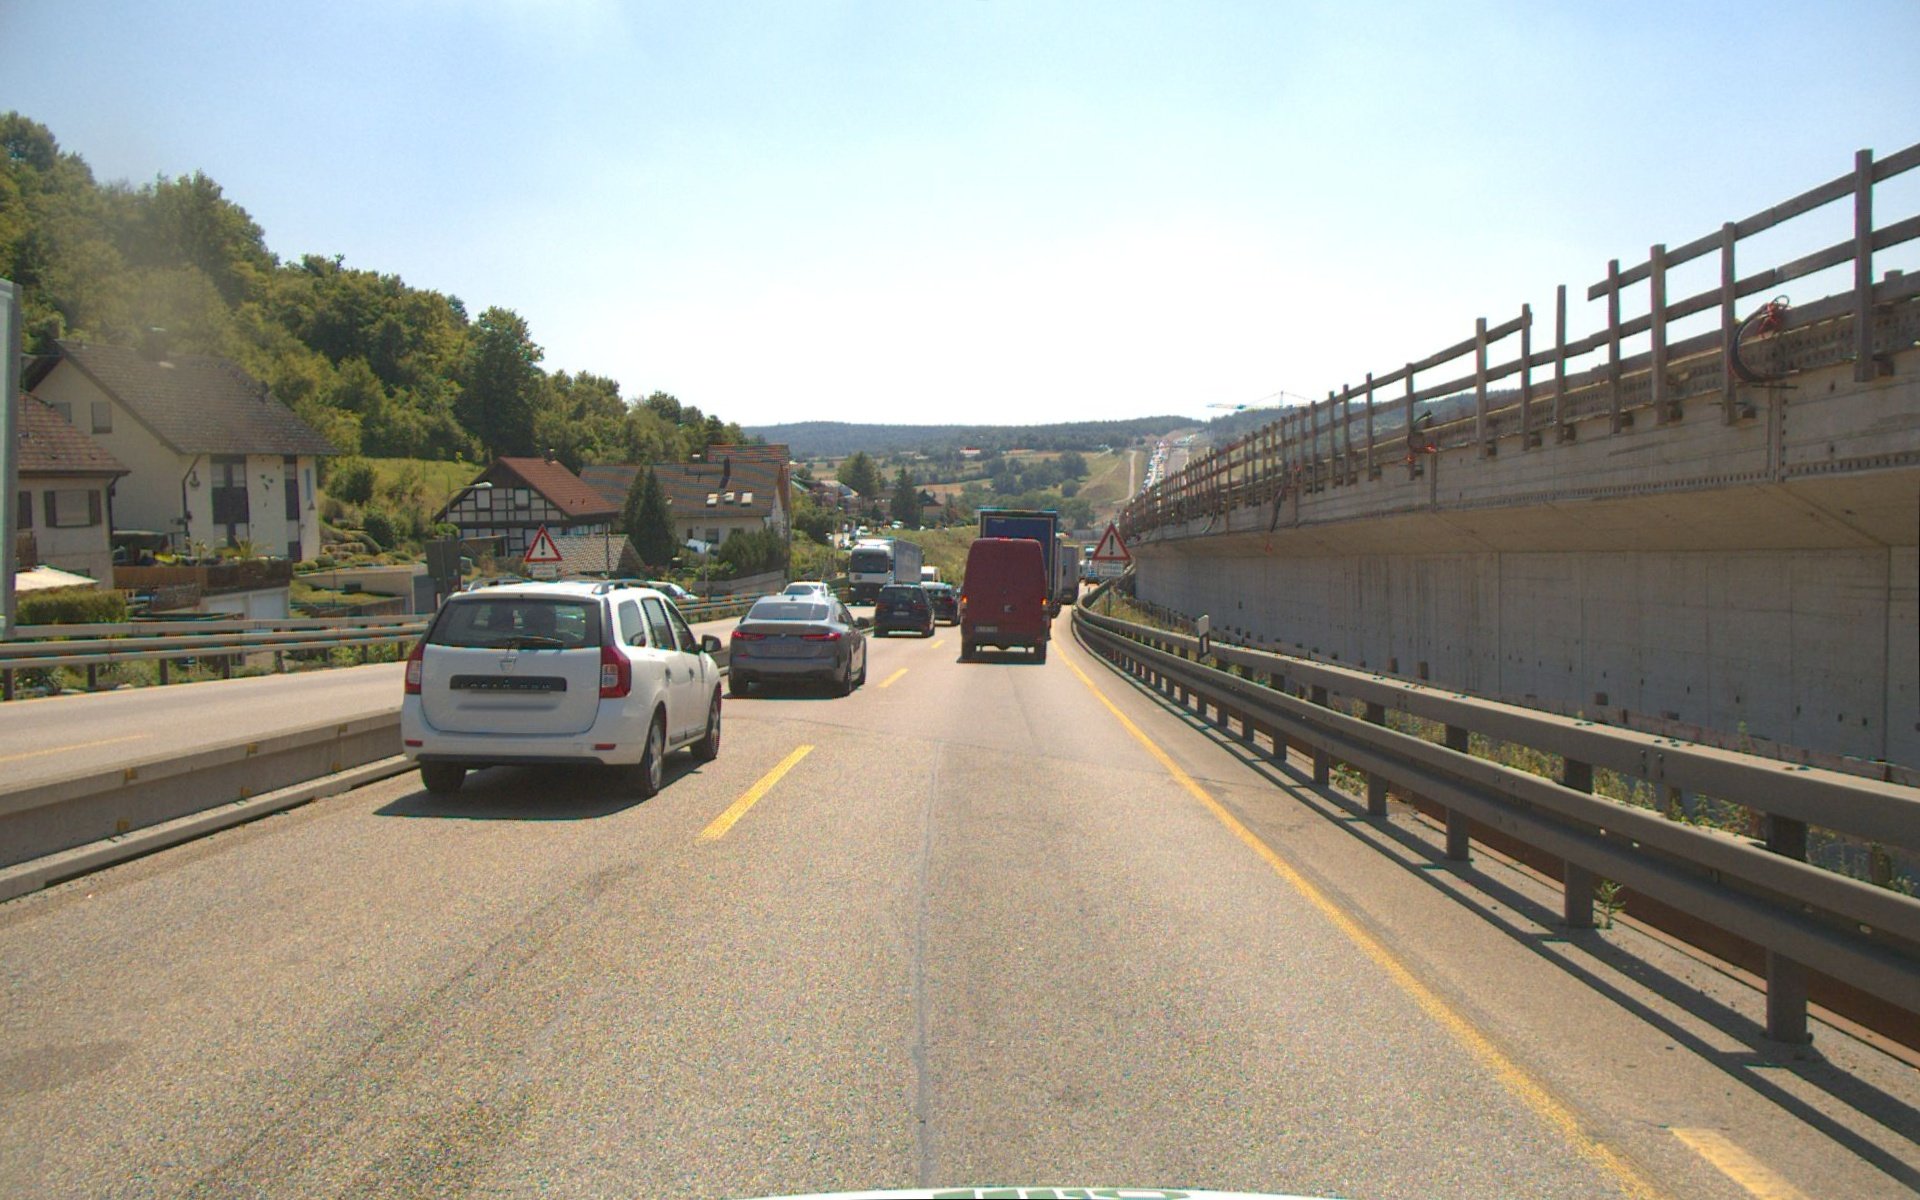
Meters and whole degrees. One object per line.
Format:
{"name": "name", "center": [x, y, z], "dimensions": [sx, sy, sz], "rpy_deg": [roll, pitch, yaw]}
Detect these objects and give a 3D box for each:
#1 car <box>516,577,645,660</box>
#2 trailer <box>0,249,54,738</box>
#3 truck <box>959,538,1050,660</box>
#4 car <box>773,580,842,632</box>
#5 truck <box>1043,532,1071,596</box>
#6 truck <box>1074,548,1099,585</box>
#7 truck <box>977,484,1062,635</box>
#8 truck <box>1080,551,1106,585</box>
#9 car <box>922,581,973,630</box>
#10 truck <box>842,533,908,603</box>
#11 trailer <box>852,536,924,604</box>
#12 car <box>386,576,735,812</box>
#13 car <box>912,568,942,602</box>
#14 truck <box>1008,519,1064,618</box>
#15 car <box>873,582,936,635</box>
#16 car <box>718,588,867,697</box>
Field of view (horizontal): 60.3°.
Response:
{"name": "car", "center": [-8.690, 0.430, 38.268], "dimensions": [1.866, 1.773, 4.661], "rpy_deg": [1, -1, 0]}
{"name": "trailer", "center": [-9.782, -0.923, 10.648], "dimensions": [2.942, 4.238, 9.016], "rpy_deg": [1, 0, 0]}
{"name": "truck", "center": [1.068, 0.011, 37.865], "dimensions": [1.952, 2.624, 4.001], "rpy_deg": [1, -1, 3]}
{"name": "car", "center": [-5.221, 0.234, 57.021], "dimensions": [1.713, 1.716, 4.389], "rpy_deg": [1, -1, 3]}
{"name": "truck", "center": [6.965, -2.565, 119.184], "dimensions": [1.952, 4.458, 4.001], "rpy_deg": [1, -1, 3]}
{"name": "truck", "center": [16.299, -4.273, 213.336], "dimensions": [3.005, 4.458, 8.560], "rpy_deg": [1, -1, 3]}
{"name": "truck", "center": [2.111, -1.258, 58.812], "dimensions": [2.728, 4.900, 9.687], "rpy_deg": [1, -1, 2]}
{"name": "truck", "center": [18.855, -4.523, 234.863], "dimensions": [3.395, 4.458, 8.560], "rpy_deg": [1, -1, 3]}
{"name": "car", "center": [-0.453, 0.230, 65.063], "dimensions": [1.693, 1.870, 4.002], "rpy_deg": [1, -1, 4]}
{"name": "truck", "center": [-5.137, -1.916, 101.231], "dimensions": [3.069, 4.151, 6.884], "rpy_deg": [1, 0, 5]}
{"name": "trailer", "center": [-4.569, -1.928, 107.492], "dimensions": [3.069, 4.151, 11.826], "rpy_deg": [1, 1, 5]}
{"name": "car", "center": [-2.924, 0.634, 13.041], "dimensions": [1.617, 1.509, 4.267], "rpy_deg": [-2, 0, 1]}
{"name": "car", "center": [-2.647, -1.204, 133.379], "dimensions": [1.963, 2.649, 5.982], "rpy_deg": [1, 1, 3]}
{"name": "truck", "center": [3.983, -1.530, 87.611], "dimensions": [2.728, 4.900, 9.687], "rpy_deg": [1, -1, 2]}
{"name": "car", "center": [-1.743, 0.292, 53.146], "dimensions": [1.772, 1.636, 3.719], "rpy_deg": [1, -1, 2]}
{"name": "car", "center": [-2.441, 0.593, 25.005], "dimensions": [1.757, 1.511, 4.050], "rpy_deg": [0, 0, 1]}
